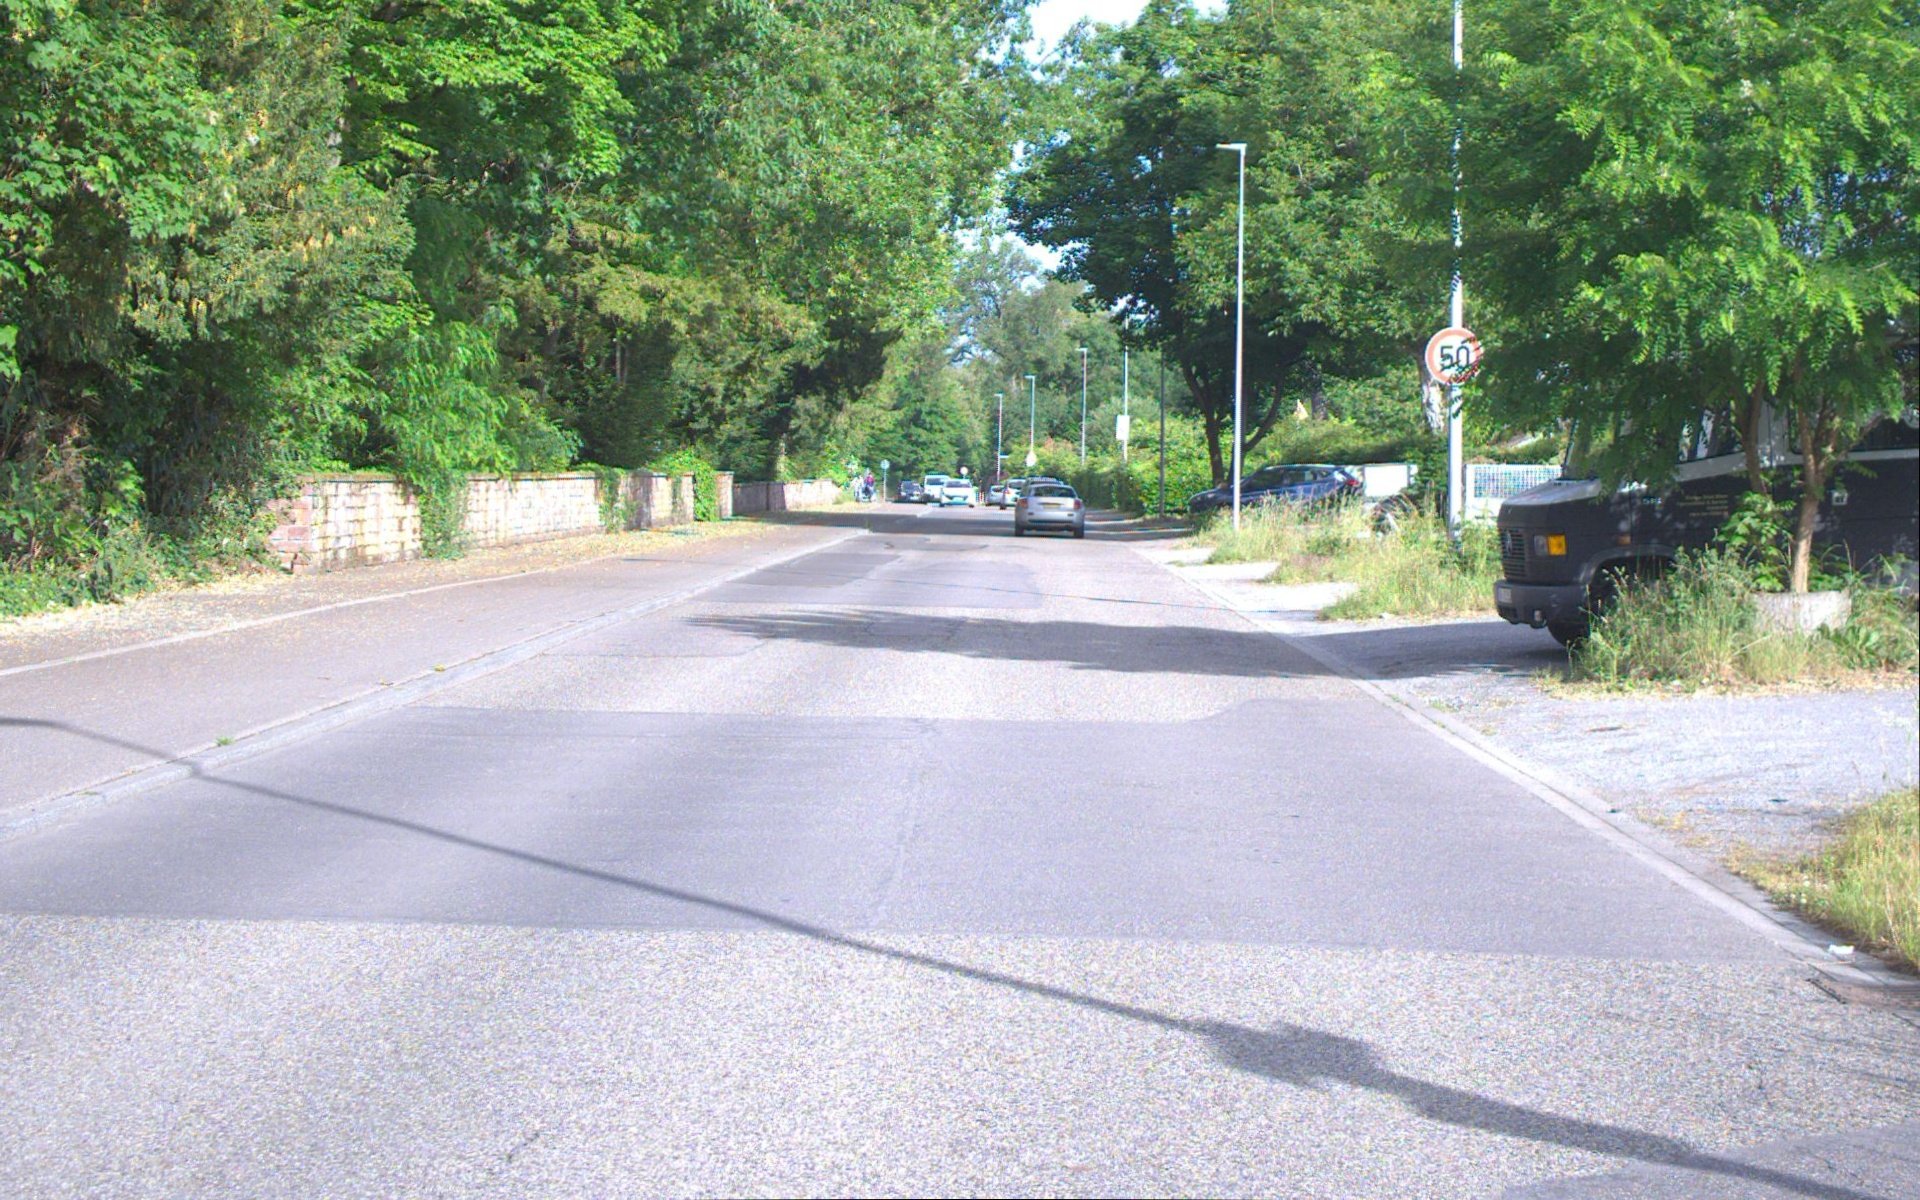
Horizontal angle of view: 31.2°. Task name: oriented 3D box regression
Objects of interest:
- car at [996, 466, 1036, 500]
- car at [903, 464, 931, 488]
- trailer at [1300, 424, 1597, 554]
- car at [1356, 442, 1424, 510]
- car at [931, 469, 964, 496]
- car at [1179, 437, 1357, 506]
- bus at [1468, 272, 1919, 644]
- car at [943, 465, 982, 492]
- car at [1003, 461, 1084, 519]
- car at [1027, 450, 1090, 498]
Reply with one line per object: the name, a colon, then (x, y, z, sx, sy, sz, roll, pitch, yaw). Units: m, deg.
car: (2.715, -5.706, 167.248, 1.886, 1.607, 4.055, 1, 2, 0)
car: (-2.925, -8.460, 234.662, 1.886, 1.607, 4.055, 1, 2, 0)
trailer: (7.023, -1.606, 49.747, 4.152, 1.828, 1.916, 0, 2, 5)
car: (10.777, -3.104, 86.014, 1.351, 1.627, 4.110, -1, 2, 11)
car: (-0.751, -7.050, 206.462, 1.886, 1.607, 4.055, 1, 2, 0)
car: (7.868, -3.283, 88.050, 4.403, 1.641, 2.000, -2, 2, 2)
bus: (6.762, -1.099, 26.395, 5.365, 2.737, 2.069, 0, 3, -2)
car: (0.112, -6.242, 176.658, 1.886, 1.367, 4.055, 1, 2, -1)
car: (2.055, -2.754, 85.724, 1.886, 1.367, 4.055, 1, 2, 0)
car: (3.182, -4.071, 111.231, 1.886, 1.460, 4.055, 1, 2, 0)
